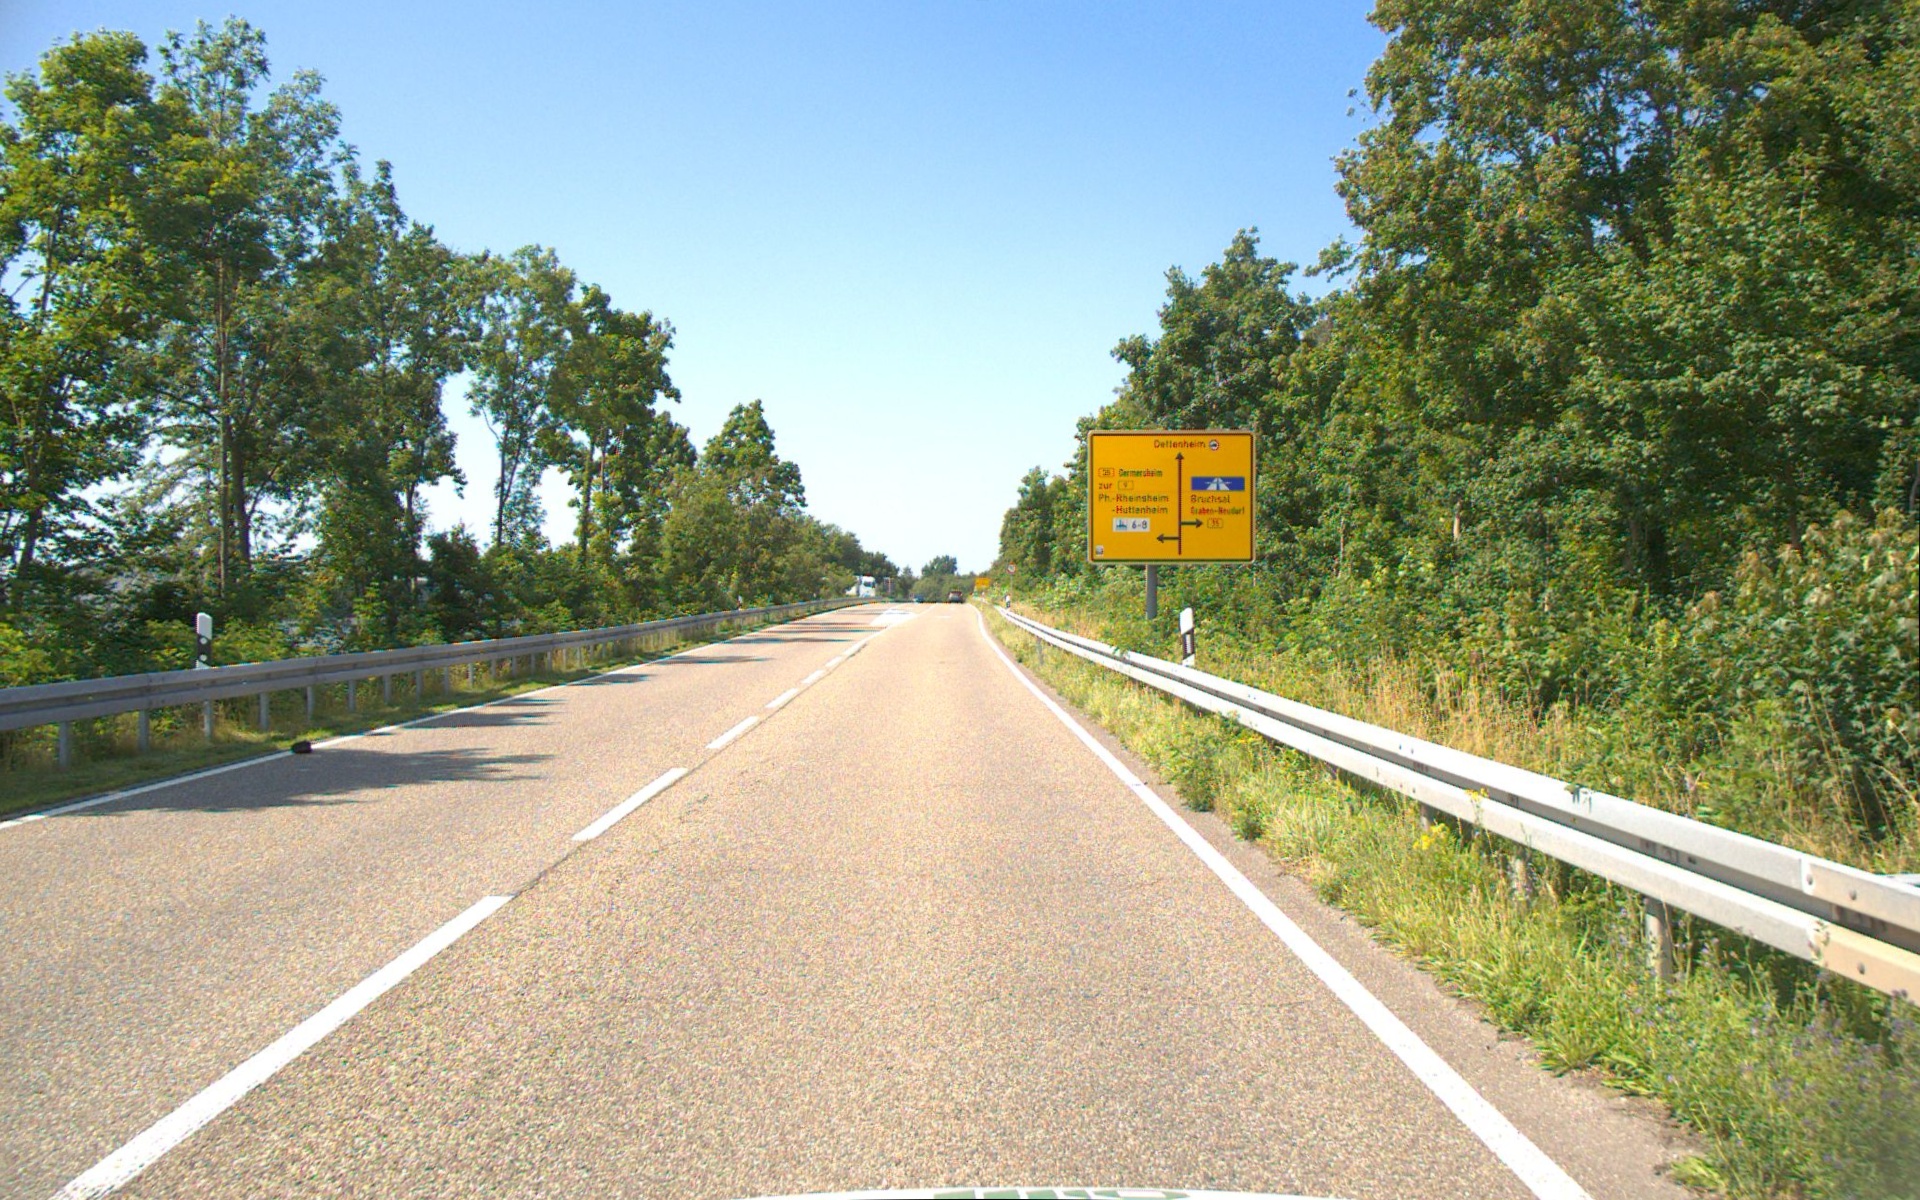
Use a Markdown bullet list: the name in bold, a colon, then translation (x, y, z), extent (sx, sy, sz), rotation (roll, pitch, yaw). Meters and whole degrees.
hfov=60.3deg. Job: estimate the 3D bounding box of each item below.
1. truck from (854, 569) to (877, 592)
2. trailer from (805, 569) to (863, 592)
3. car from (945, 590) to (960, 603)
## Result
- **truck**: translation (-14.652, -3.036, 256.261), extent (3.393, 3.599, 2.000), rotation (0, 0, 1)
- **trailer**: translation (-19.500, -3.031, 256.372), extent (8.914, 3.641, 2.000), rotation (0, 0, 1)
- **car**: translation (-0.858, -0.448, 195.811), extent (1.705, 1.496, 3.692), rotation (0, 1, 0)
